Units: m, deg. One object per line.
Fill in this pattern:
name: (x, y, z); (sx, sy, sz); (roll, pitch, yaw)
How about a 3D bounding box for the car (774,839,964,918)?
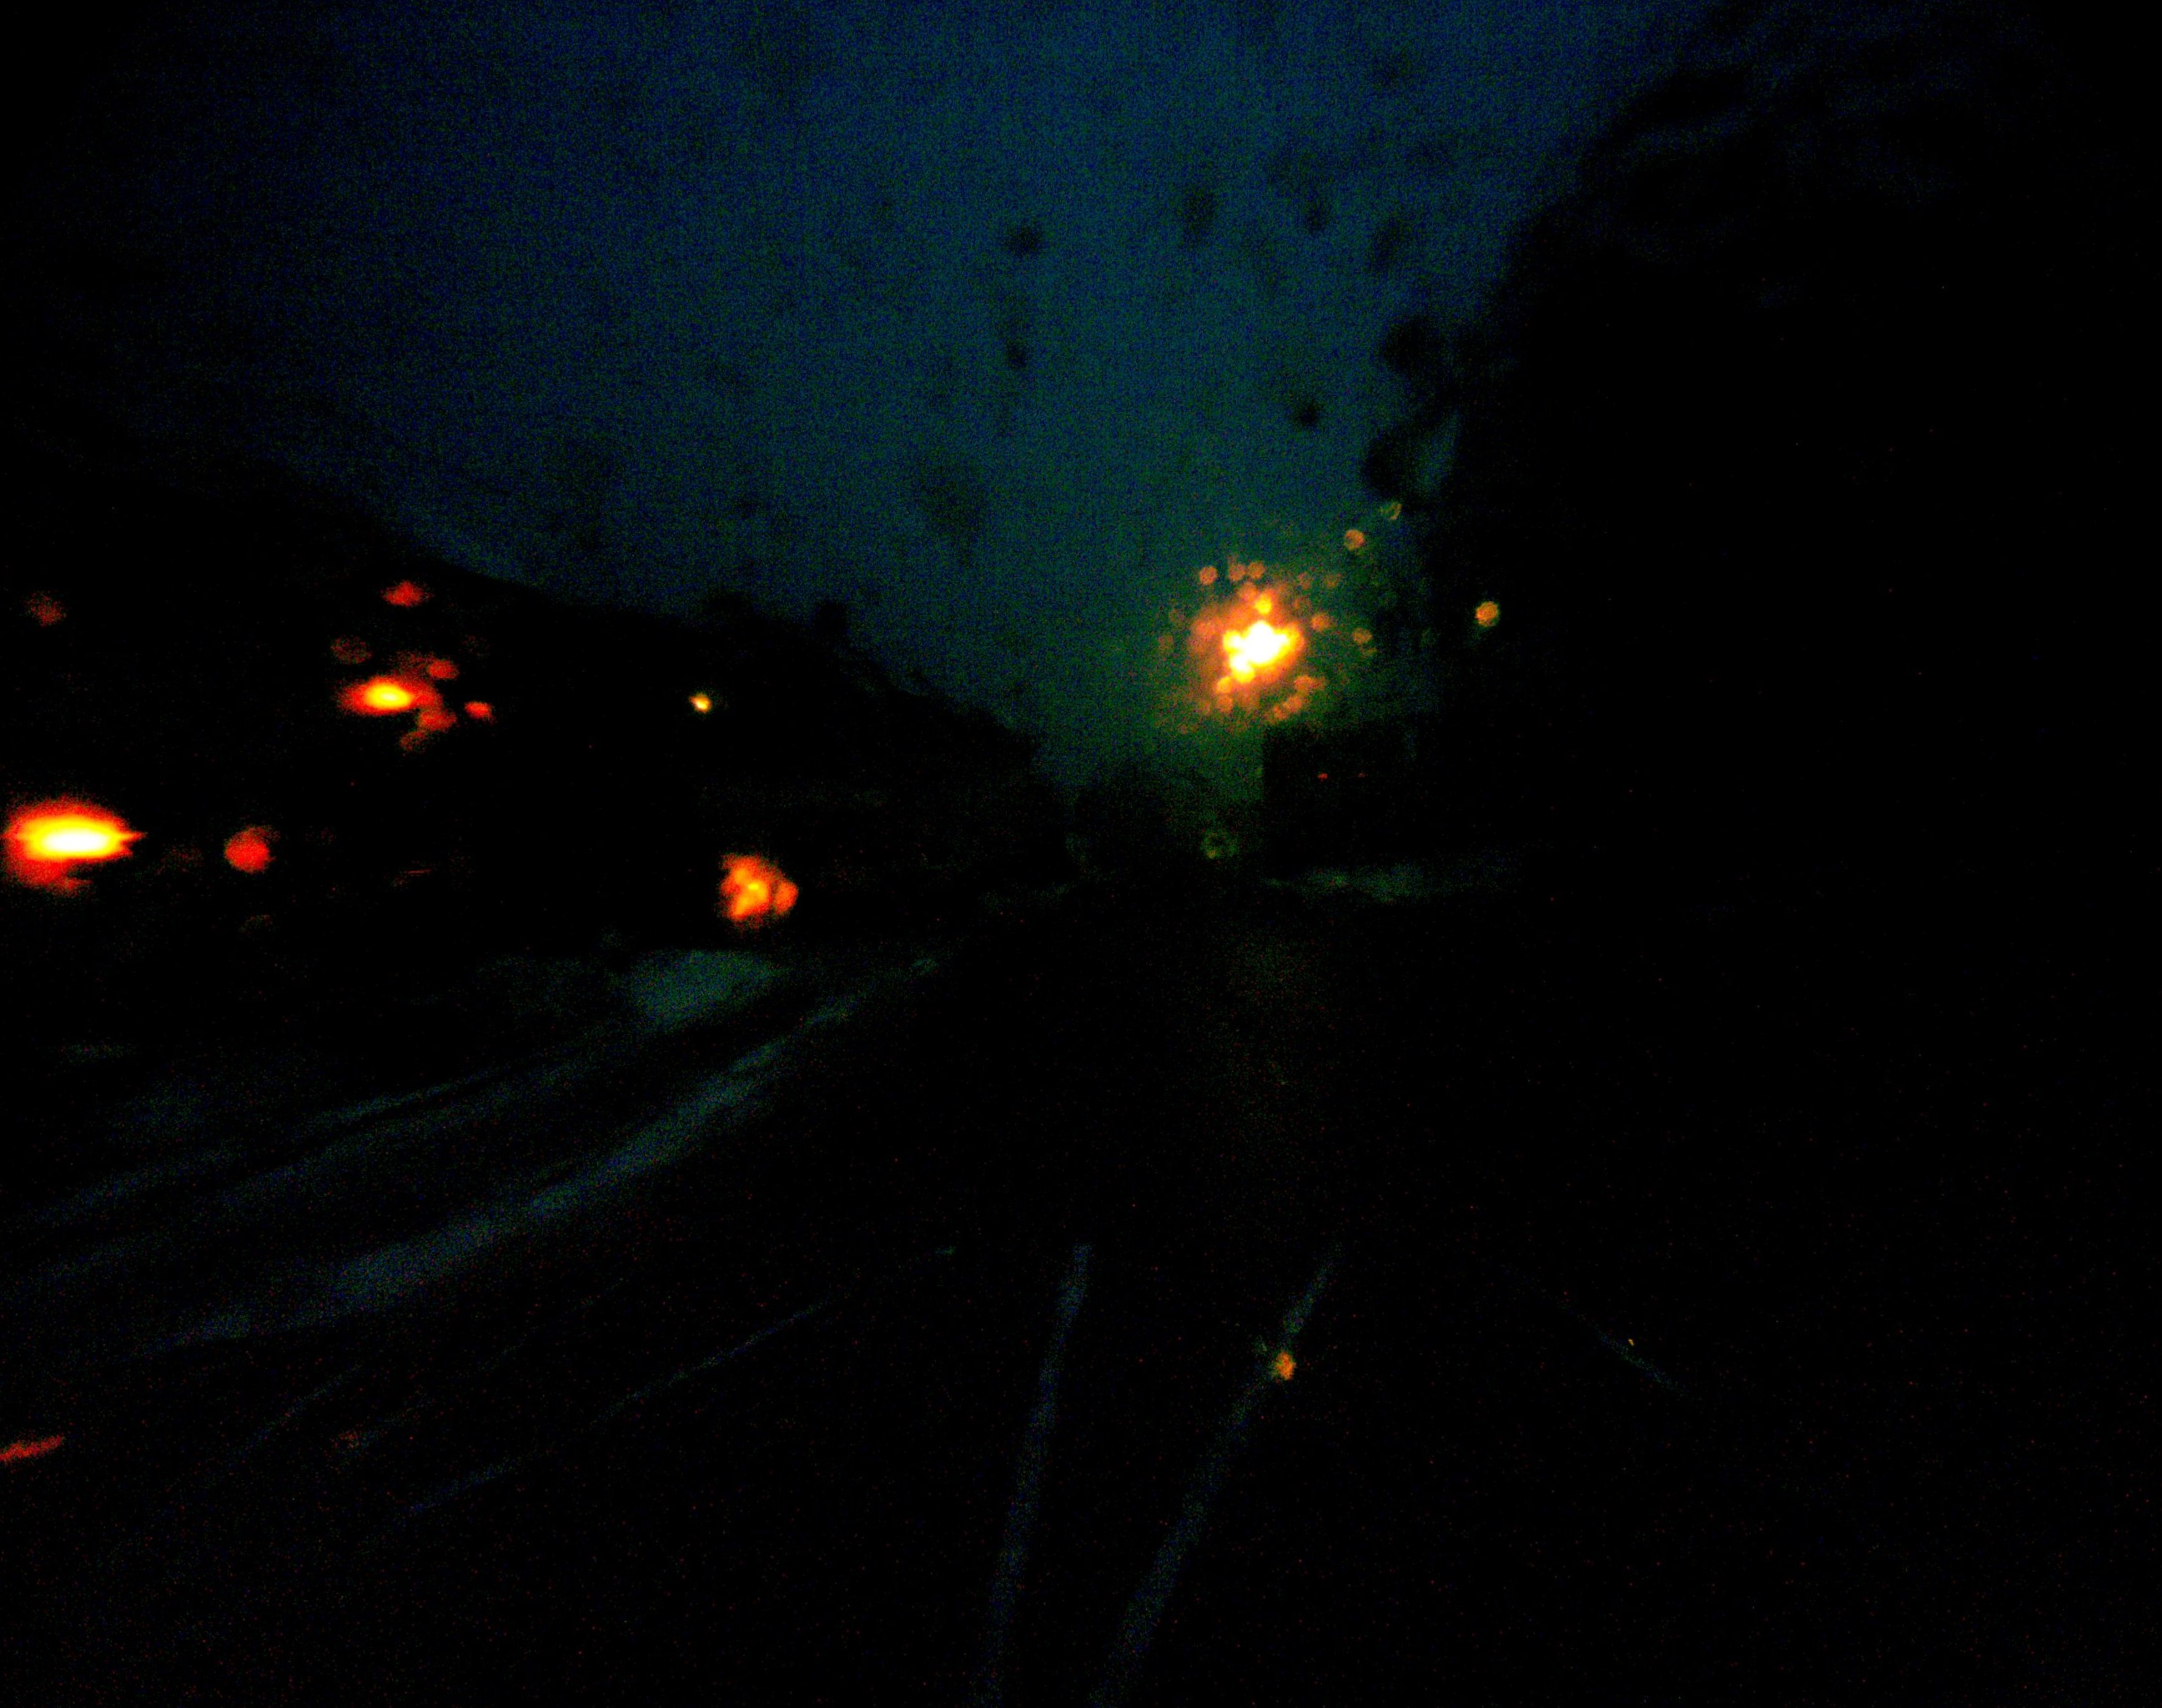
car: (-5.380, 0.603, 19.470); (4.212, 1.848, 1.913); (-1, 2, 14)
